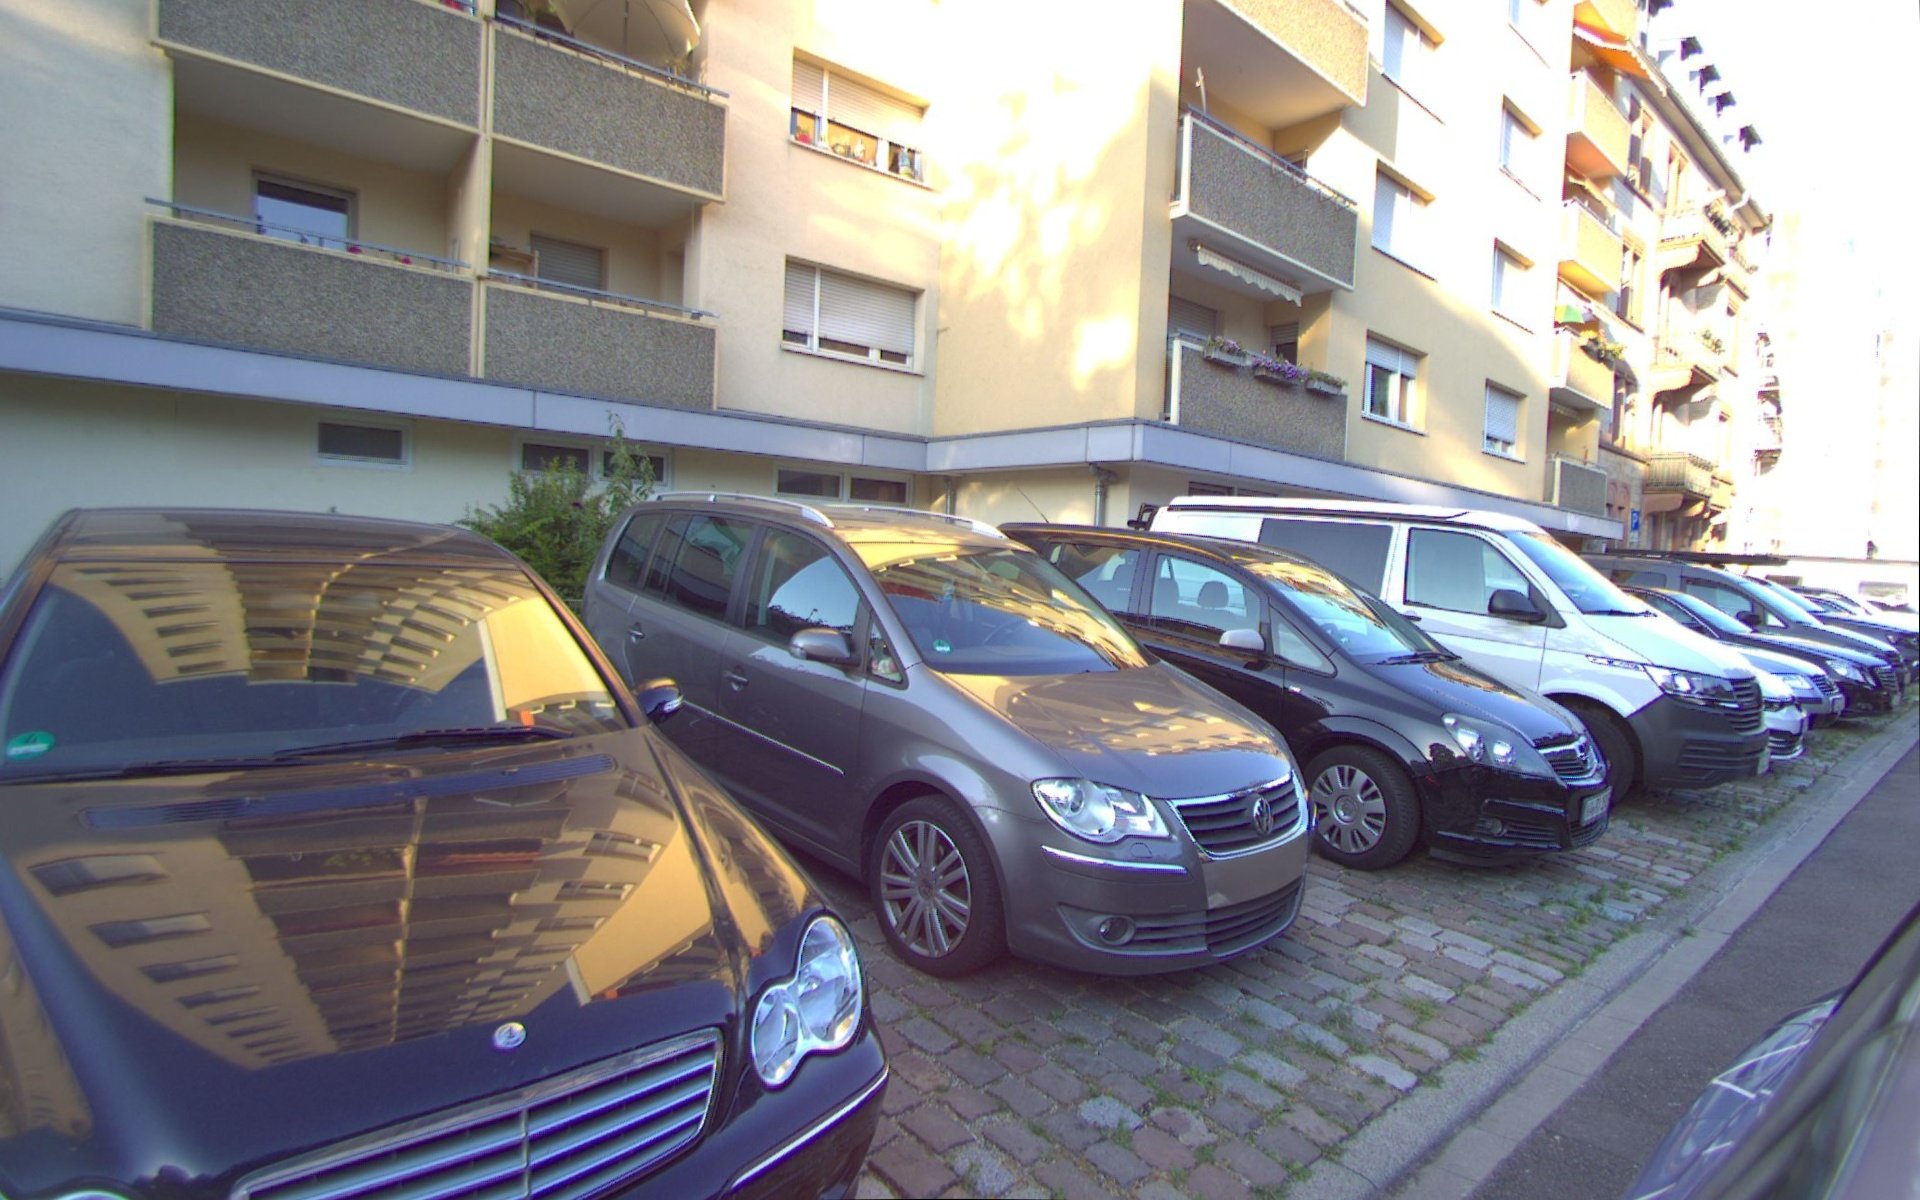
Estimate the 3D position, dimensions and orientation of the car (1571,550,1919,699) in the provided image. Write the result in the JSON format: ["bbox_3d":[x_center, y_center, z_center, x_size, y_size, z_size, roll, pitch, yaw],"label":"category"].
[{"bbox_3d":[12.593,0.271,16.077,1.814,1.885,4.522,0,4,-42],"label":"car"}]

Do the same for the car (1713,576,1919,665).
[{"bbox_3d":[19.490,0.411,22.202,1.813,1.572,4.415,-2,6,-40],"label":"car"}]

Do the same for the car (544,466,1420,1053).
[{"bbox_3d":[-0.339,0.232,5.110,1.815,1.680,4.412,-2,7,-43],"label":"car"}]

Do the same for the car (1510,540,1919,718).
[{"bbox_3d":[10.787,0.229,14.551,1.814,2.004,4.647,-2,6,-41],"label":"car"}]

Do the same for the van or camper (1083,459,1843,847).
[{"bbox_3d":[3.709,0.053,8.415,2.006,2.192,5.144,0,7,-43],"label":"van or camper"}]

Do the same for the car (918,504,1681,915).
[{"bbox_3d":[1.827,0.313,6.595,1.752,1.680,4.334,-2,7,-43],"label":"car"}]

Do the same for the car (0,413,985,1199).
[{"bbox_3d":[-2.125,0.383,3.125,1.815,1.549,4.410,-2,6,-43],"label":"car"}]

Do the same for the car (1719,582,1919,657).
[{"bbox_3d":[22.629,0.439,26.233,1.813,1.638,4.414,-2,4,-40],"label":"car"}]

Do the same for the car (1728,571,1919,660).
[{"bbox_3d":[21.248,0.314,24.032,1.812,1.769,4.418,-2,5,-37],"label":"car"}]

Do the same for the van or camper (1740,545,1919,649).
[{"bbox_3d":[25.269,-0.058,27.483,2.014,2.534,6.074,1,4,-41],"label":"van or camper"}]

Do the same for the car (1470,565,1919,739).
[{"bbox_3d":[9.129,0.468,12.778,1.814,1.581,4.413,-2,6,-41],"label":"car"}]

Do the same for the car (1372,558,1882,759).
[{"bbox_3d":[7.216,0.442,11.370,1.814,1.611,4.413,-2,6,-41],"label":"car"}]

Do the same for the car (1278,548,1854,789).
[{"bbox_3d":[5.579,0.408,9.840,1.814,1.650,4.413,-2,6,-41],"label":"car"}]

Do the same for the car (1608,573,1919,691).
[{"bbox_3d":[14.399,0.444,18.015,1.813,1.572,4.416,-2,5,-39],"label":"car"}]
